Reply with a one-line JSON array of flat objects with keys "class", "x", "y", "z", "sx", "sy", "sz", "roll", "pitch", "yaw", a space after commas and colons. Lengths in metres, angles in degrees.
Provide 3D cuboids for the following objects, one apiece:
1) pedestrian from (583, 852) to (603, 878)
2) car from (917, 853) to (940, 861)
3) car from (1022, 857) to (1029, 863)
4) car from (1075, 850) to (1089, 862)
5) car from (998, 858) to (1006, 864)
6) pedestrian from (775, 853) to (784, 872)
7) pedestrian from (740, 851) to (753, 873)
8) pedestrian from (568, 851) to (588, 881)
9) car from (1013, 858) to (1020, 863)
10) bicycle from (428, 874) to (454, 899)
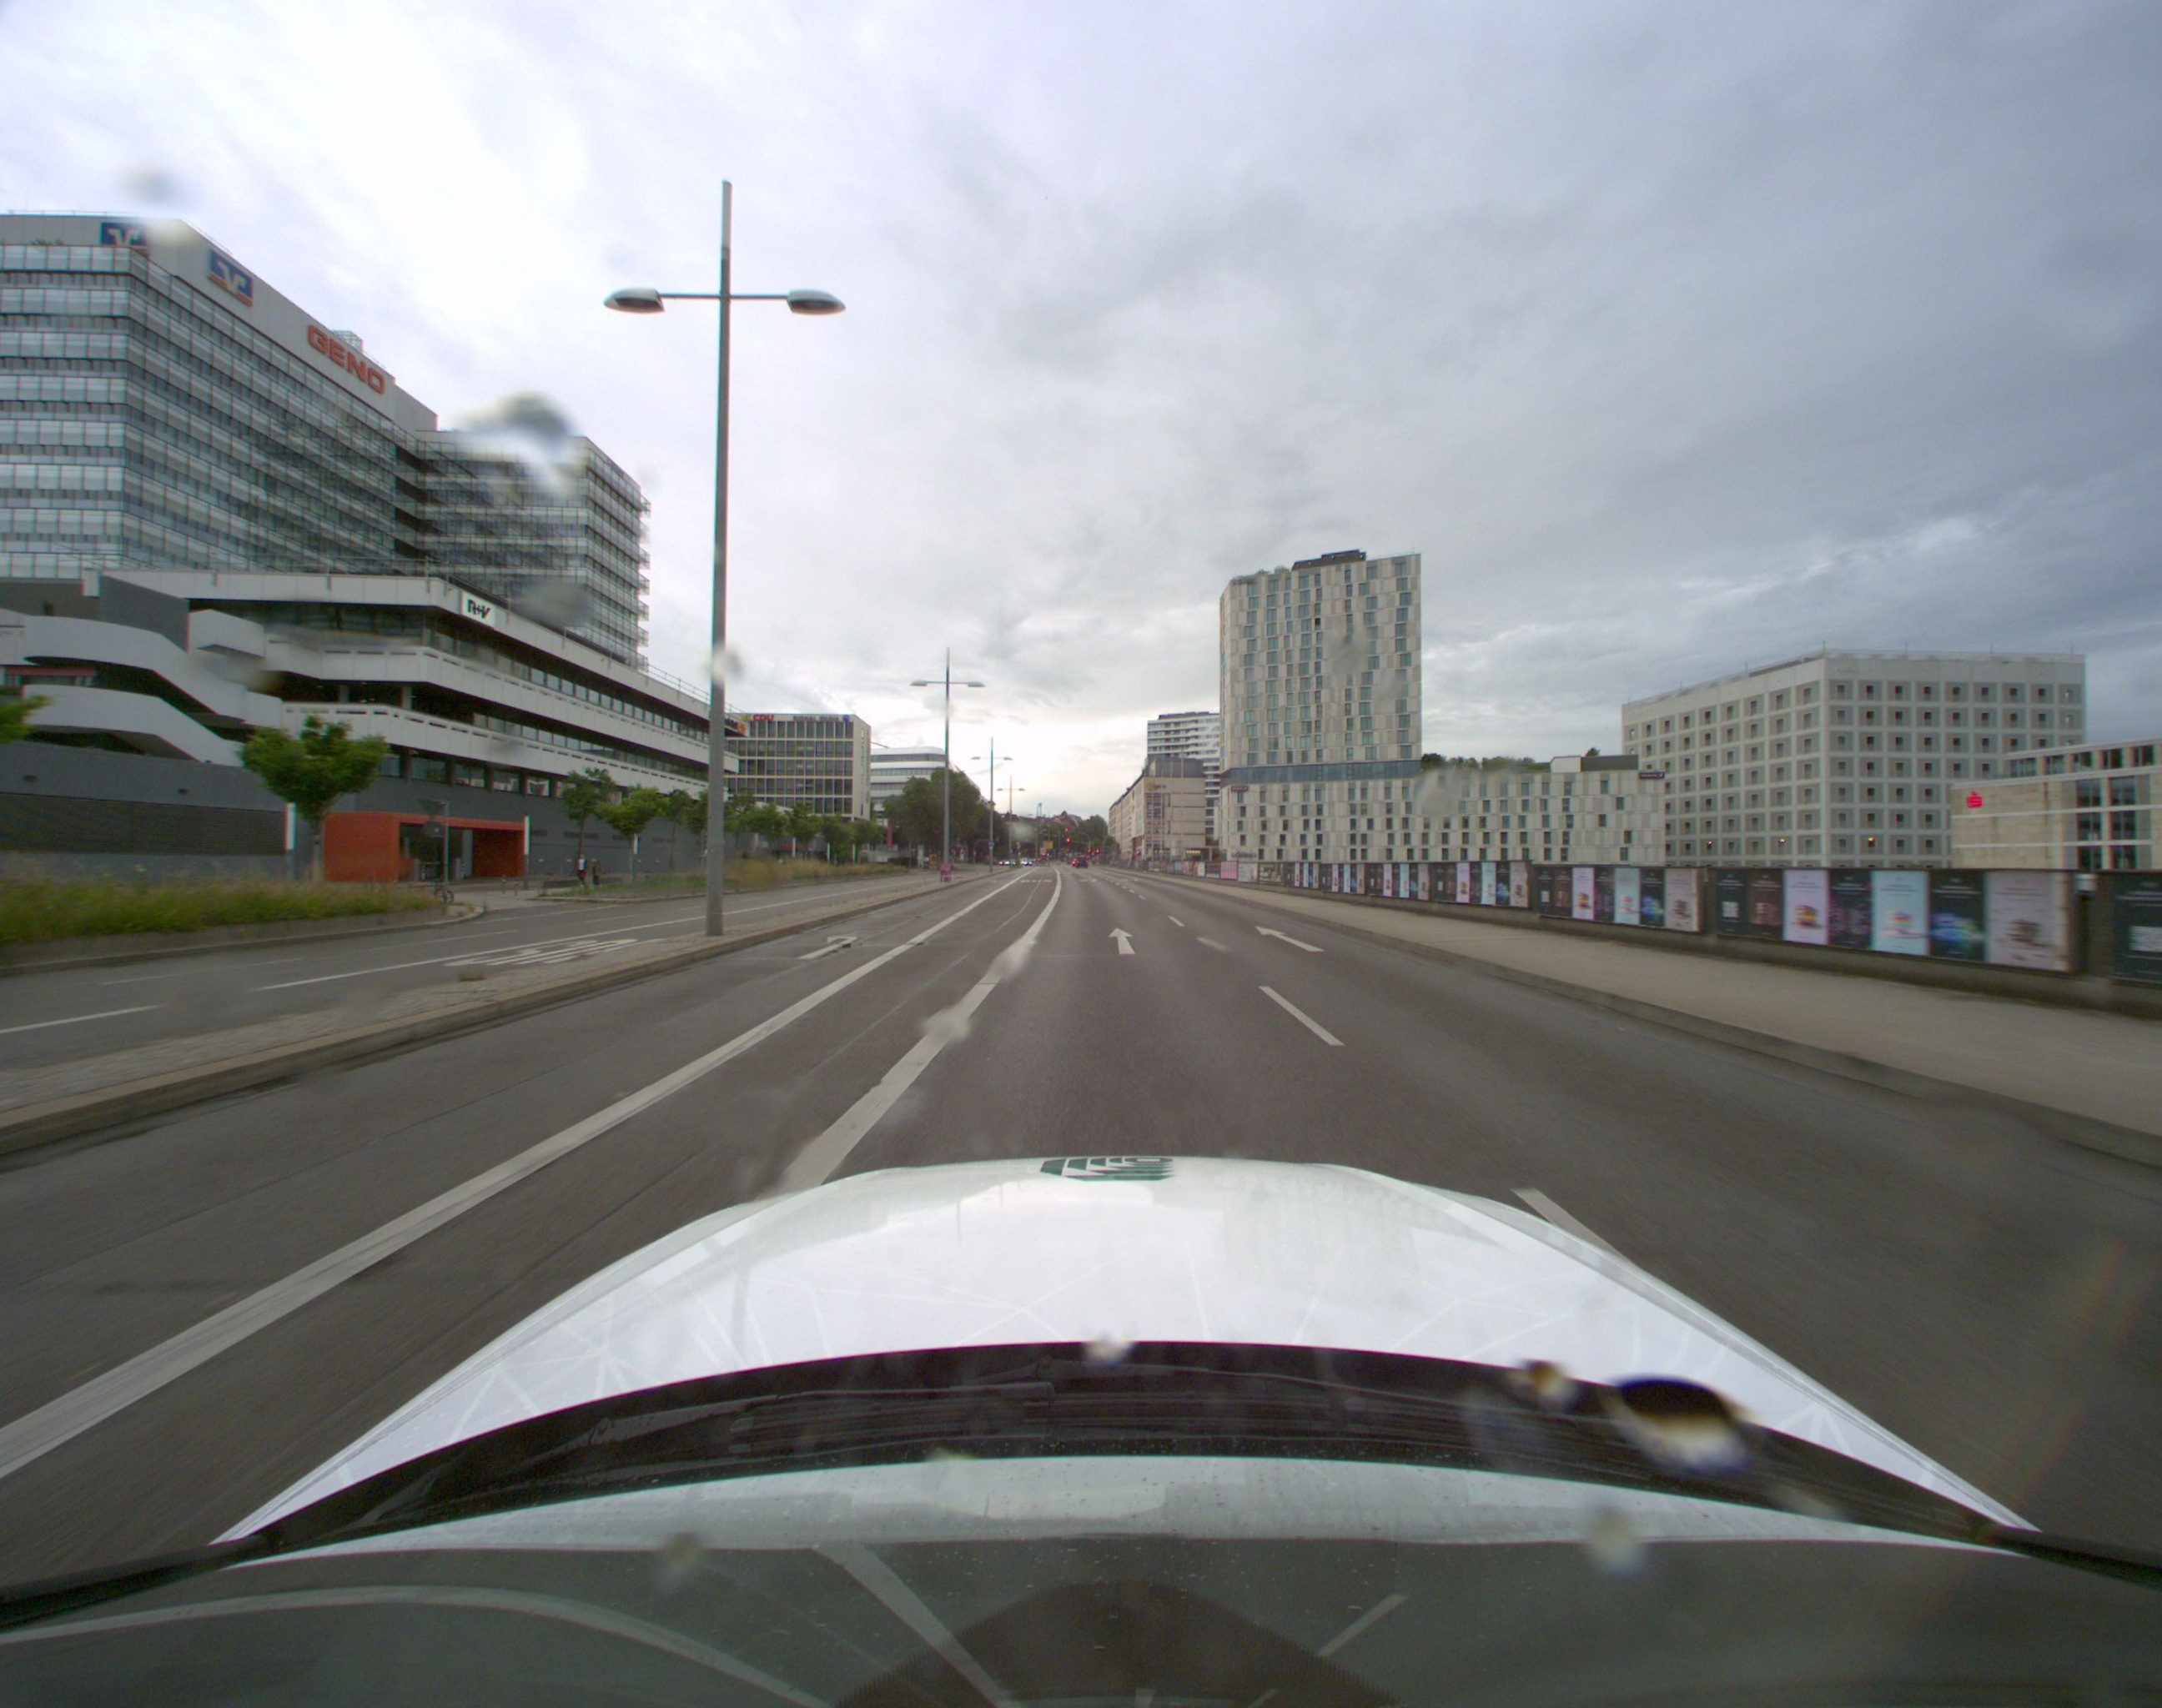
[{"class": "pedestrian", "x": -27.181, "y": 0.612, "z": 45.370, "sx": 0.616, "sy": 1.446, "sz": 0.798, "roll": -1, "pitch": -1, "yaw": -1}, {"class": "car", "x": -33.864, "y": 0.595, "z": 180.652, "sx": 4.469, "sy": 1.631, "sz": 1.902, "roll": -1, "pitch": -1, "yaw": 13}, {"class": "car", "x": -14.175, "y": 1.605, "z": 208.757, "sx": 1.739, "sy": 1.444, "sz": 3.392, "roll": -1, "pitch": -1, "yaw": -2}, {"class": "car", "x": 0.134, "y": 0.374, "z": 138.822, "sx": 2.027, "sy": 1.882, "sz": 5.038, "roll": -3, "pitch": 0, "yaw": -2}, {"class": "car", "x": -20.215, "y": 1.794, "z": 209.275, "sx": 1.739, "sy": 1.328, "sz": 4.222, "roll": -1, "pitch": -1, "yaw": -2}, {"class": "pedestrian", "x": -28.706, "y": 0.781, "z": 77.597, "sx": 0.628, "sy": 1.808, "sz": 0.628, "roll": -1, "pitch": -2, "yaw": -2}, {"class": "pedestrian", "x": -27.405, "y": 0.637, "z": 66.677, "sx": 0.782, "sy": 1.808, "sz": 0.628, "roll": -1, "pitch": -2, "yaw": -2}, {"class": "pedestrian", "x": -27.964, "y": 0.661, "z": 45.255, "sx": 0.616, "sy": 1.658, "sz": 0.798, "roll": -2, "pitch": -1, "yaw": -1}, {"class": "car", "x": -16.666, "y": 1.560, "z": 209.814, "sx": 1.739, "sy": 1.257, "sz": 3.537, "roll": 0, "pitch": 0, "yaw": -2}, {"class": "bicycle", "x": -22.698, "y": 1.130, "z": 28.903, "sx": 0.612, "sy": 0.857, "sz": 1.639, "roll": 0, "pitch": -2, "yaw": -35}]
